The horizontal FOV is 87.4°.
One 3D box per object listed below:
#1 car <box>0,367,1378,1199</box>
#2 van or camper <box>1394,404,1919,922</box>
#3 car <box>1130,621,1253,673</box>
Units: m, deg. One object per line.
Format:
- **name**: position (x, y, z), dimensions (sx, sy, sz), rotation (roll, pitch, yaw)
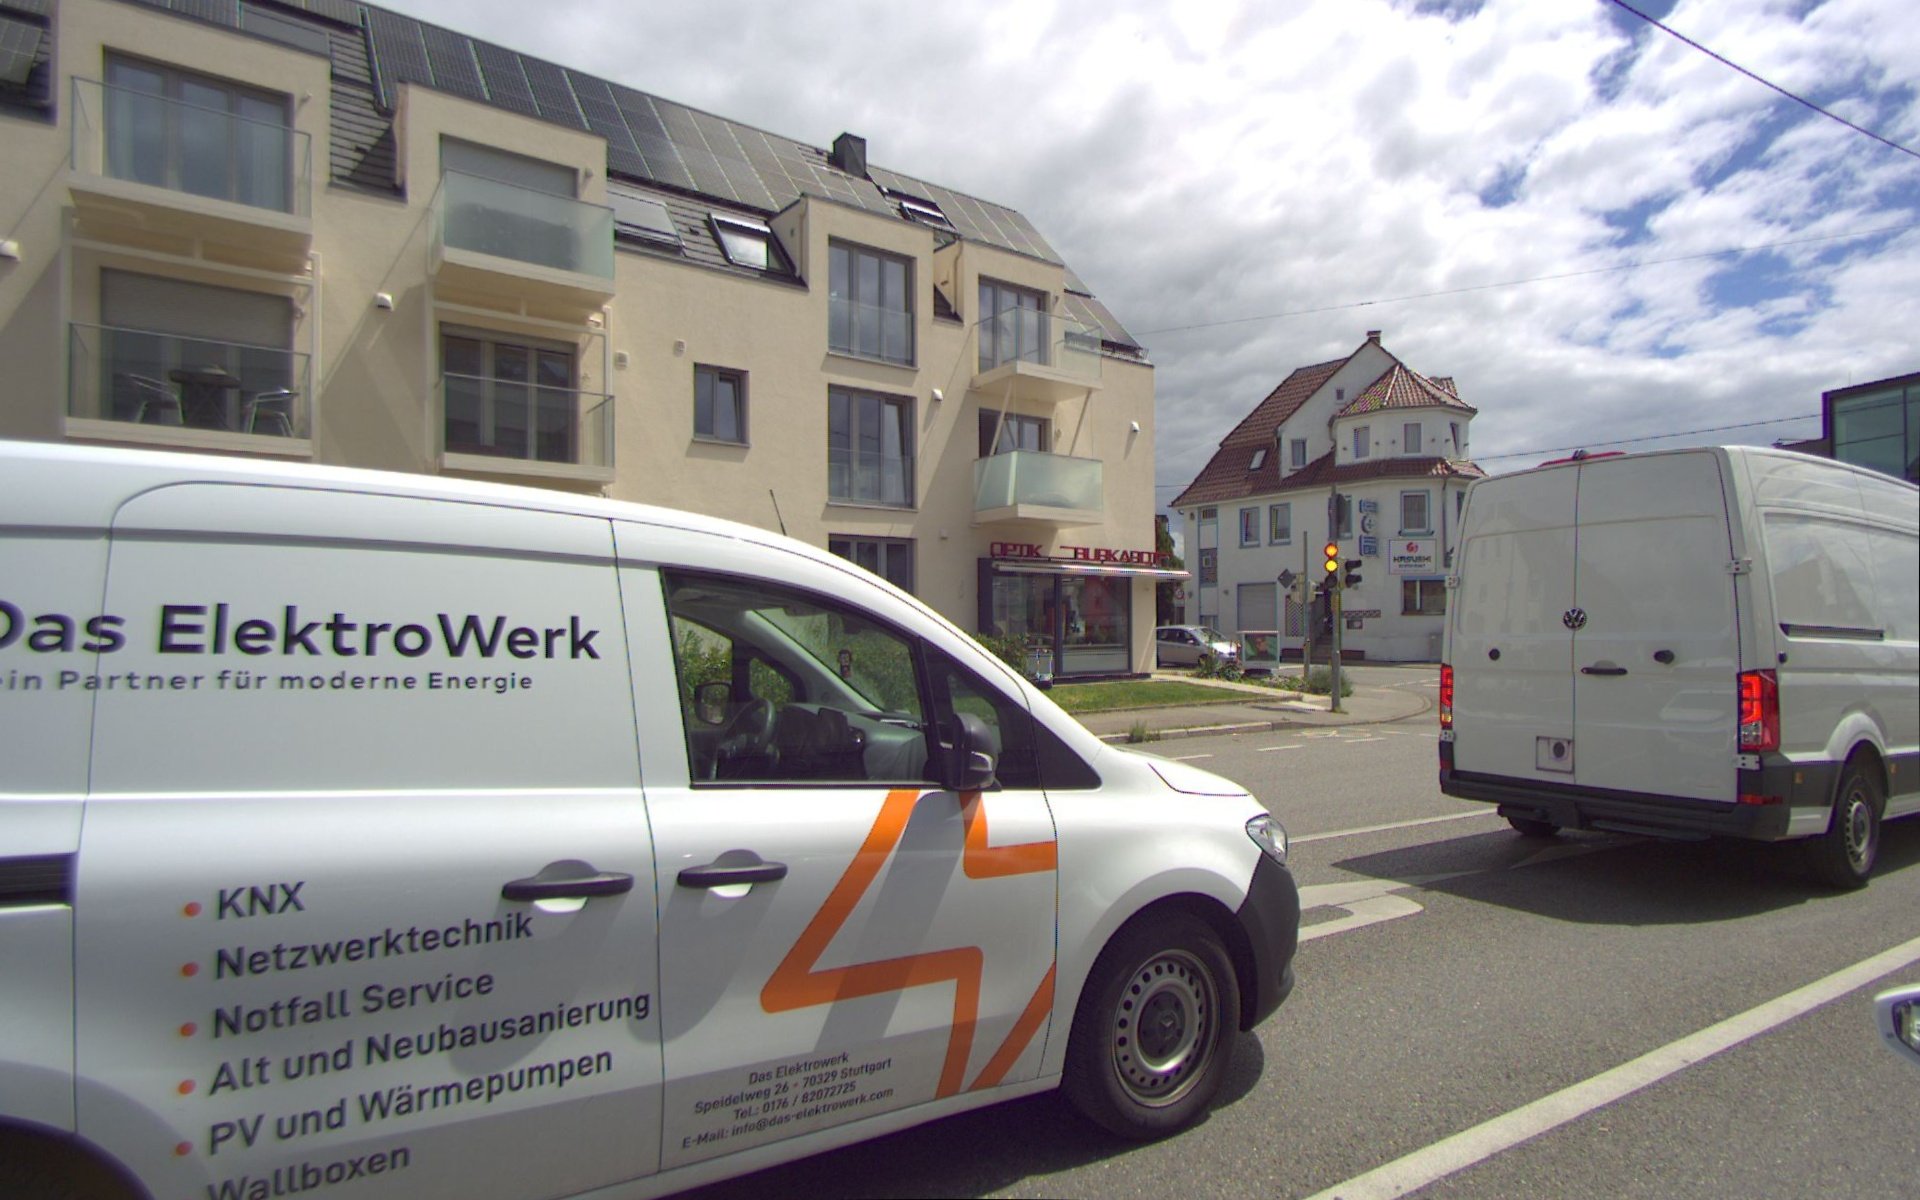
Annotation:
- **car**: position (-0.924, 0.594, 2.937), dimensions (4.370, 1.836, 1.806), rotation (1, -1, -33)
- **van or camper**: position (5.879, 0.396, 7.501), dimensions (5.584, 2.620, 2.096), rotation (1, -2, -33)
- **car**: position (8.232, 1.639, 35.967), dimensions (1.981, 1.706, 3.959), rotation (1, -1, -36)
